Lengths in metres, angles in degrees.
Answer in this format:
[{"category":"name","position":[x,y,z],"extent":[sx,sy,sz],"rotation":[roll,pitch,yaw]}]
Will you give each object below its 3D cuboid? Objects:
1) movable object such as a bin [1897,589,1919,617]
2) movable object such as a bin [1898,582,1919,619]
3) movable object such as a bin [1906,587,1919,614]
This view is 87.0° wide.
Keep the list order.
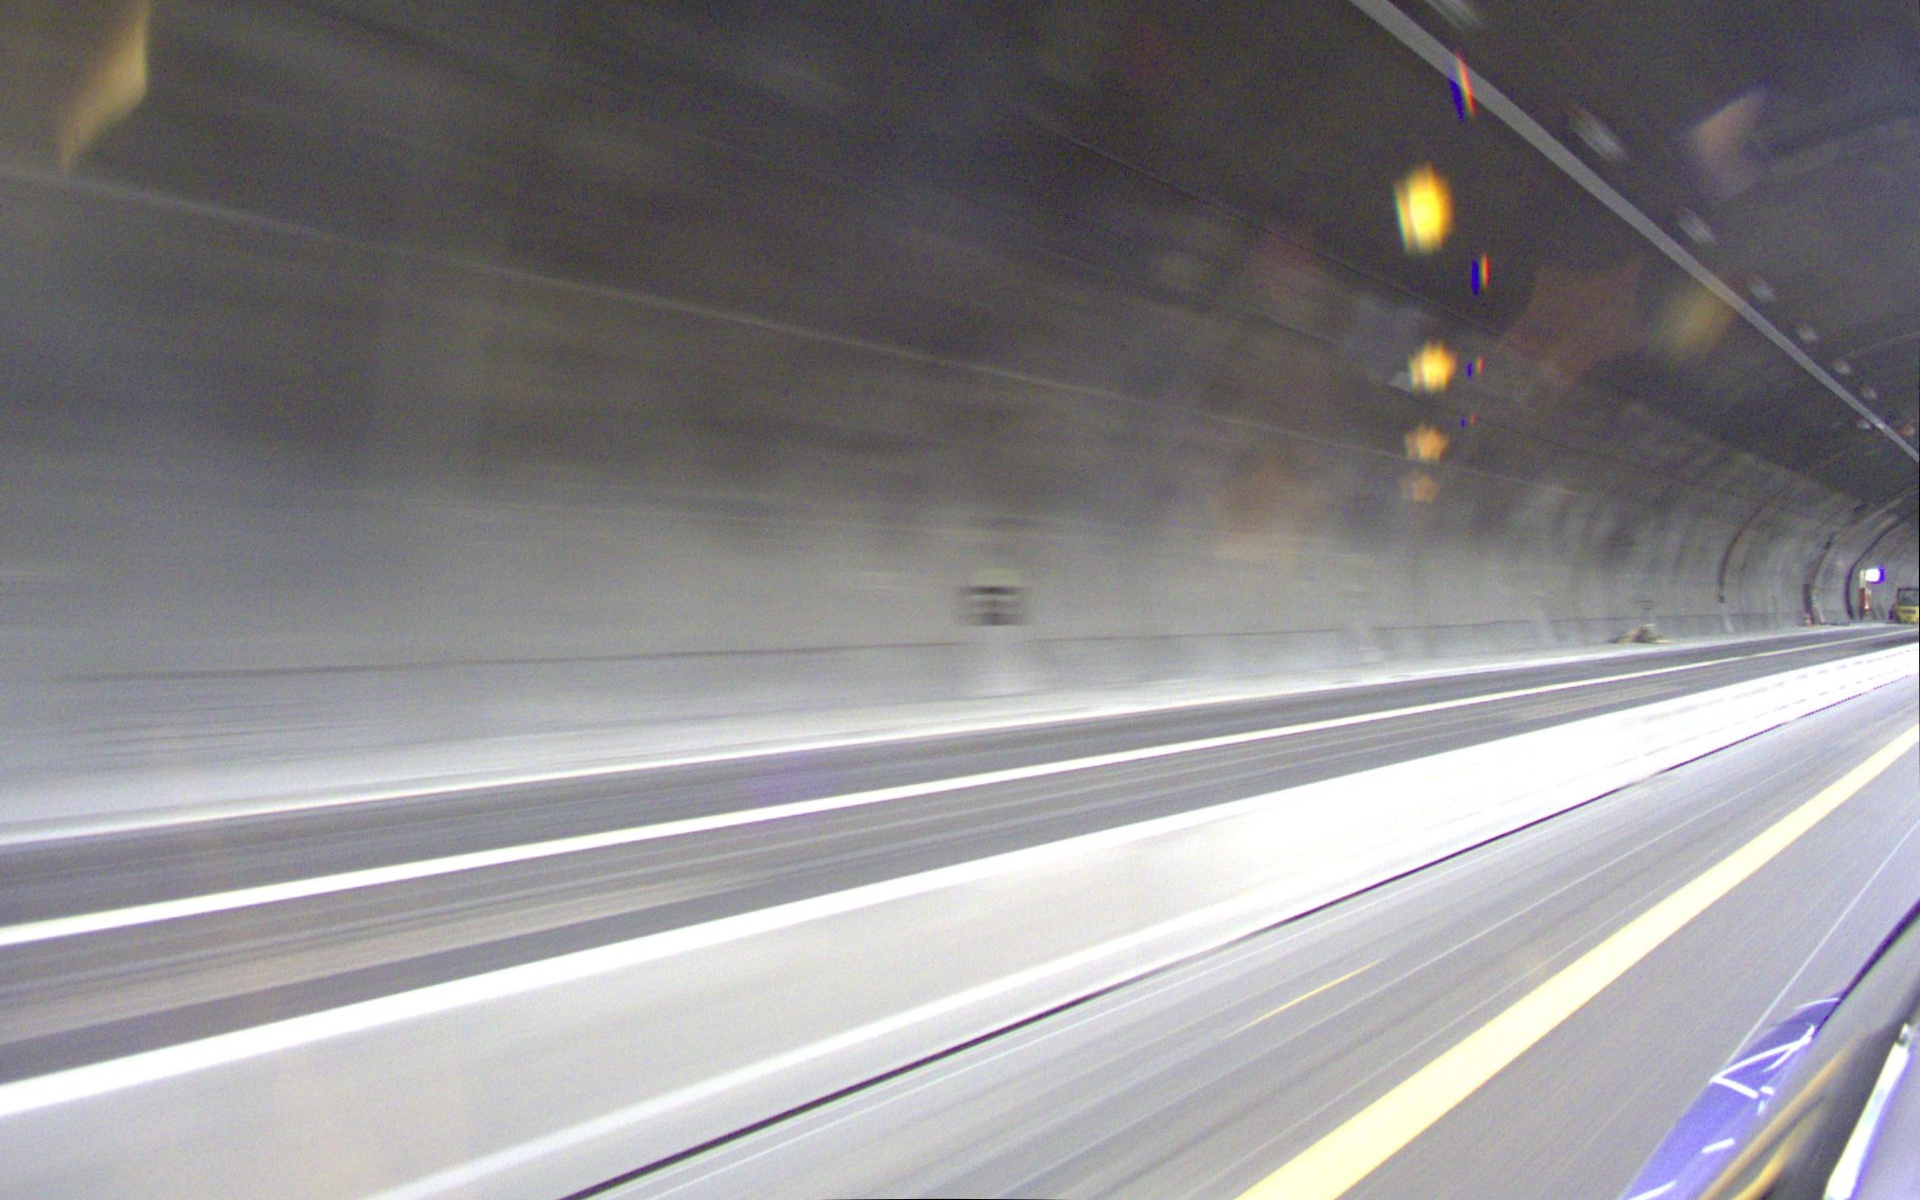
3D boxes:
[{"category":"movable object such as a bin","position":[61.270,0.183,64.786],"extent":[3.002,1.730,1.558],"rotation":[-1,1,-42]},{"category":"movable object such as a bin","position":[57.537,0.021,60.499],"extent":[4.548,2.172,1.686],"rotation":[-1,1,-42]},{"category":"movable object such as a bin","position":[65.597,0.087,68.461],"extent":[4.424,1.695,1.865],"rotation":[0,4,-42]}]
